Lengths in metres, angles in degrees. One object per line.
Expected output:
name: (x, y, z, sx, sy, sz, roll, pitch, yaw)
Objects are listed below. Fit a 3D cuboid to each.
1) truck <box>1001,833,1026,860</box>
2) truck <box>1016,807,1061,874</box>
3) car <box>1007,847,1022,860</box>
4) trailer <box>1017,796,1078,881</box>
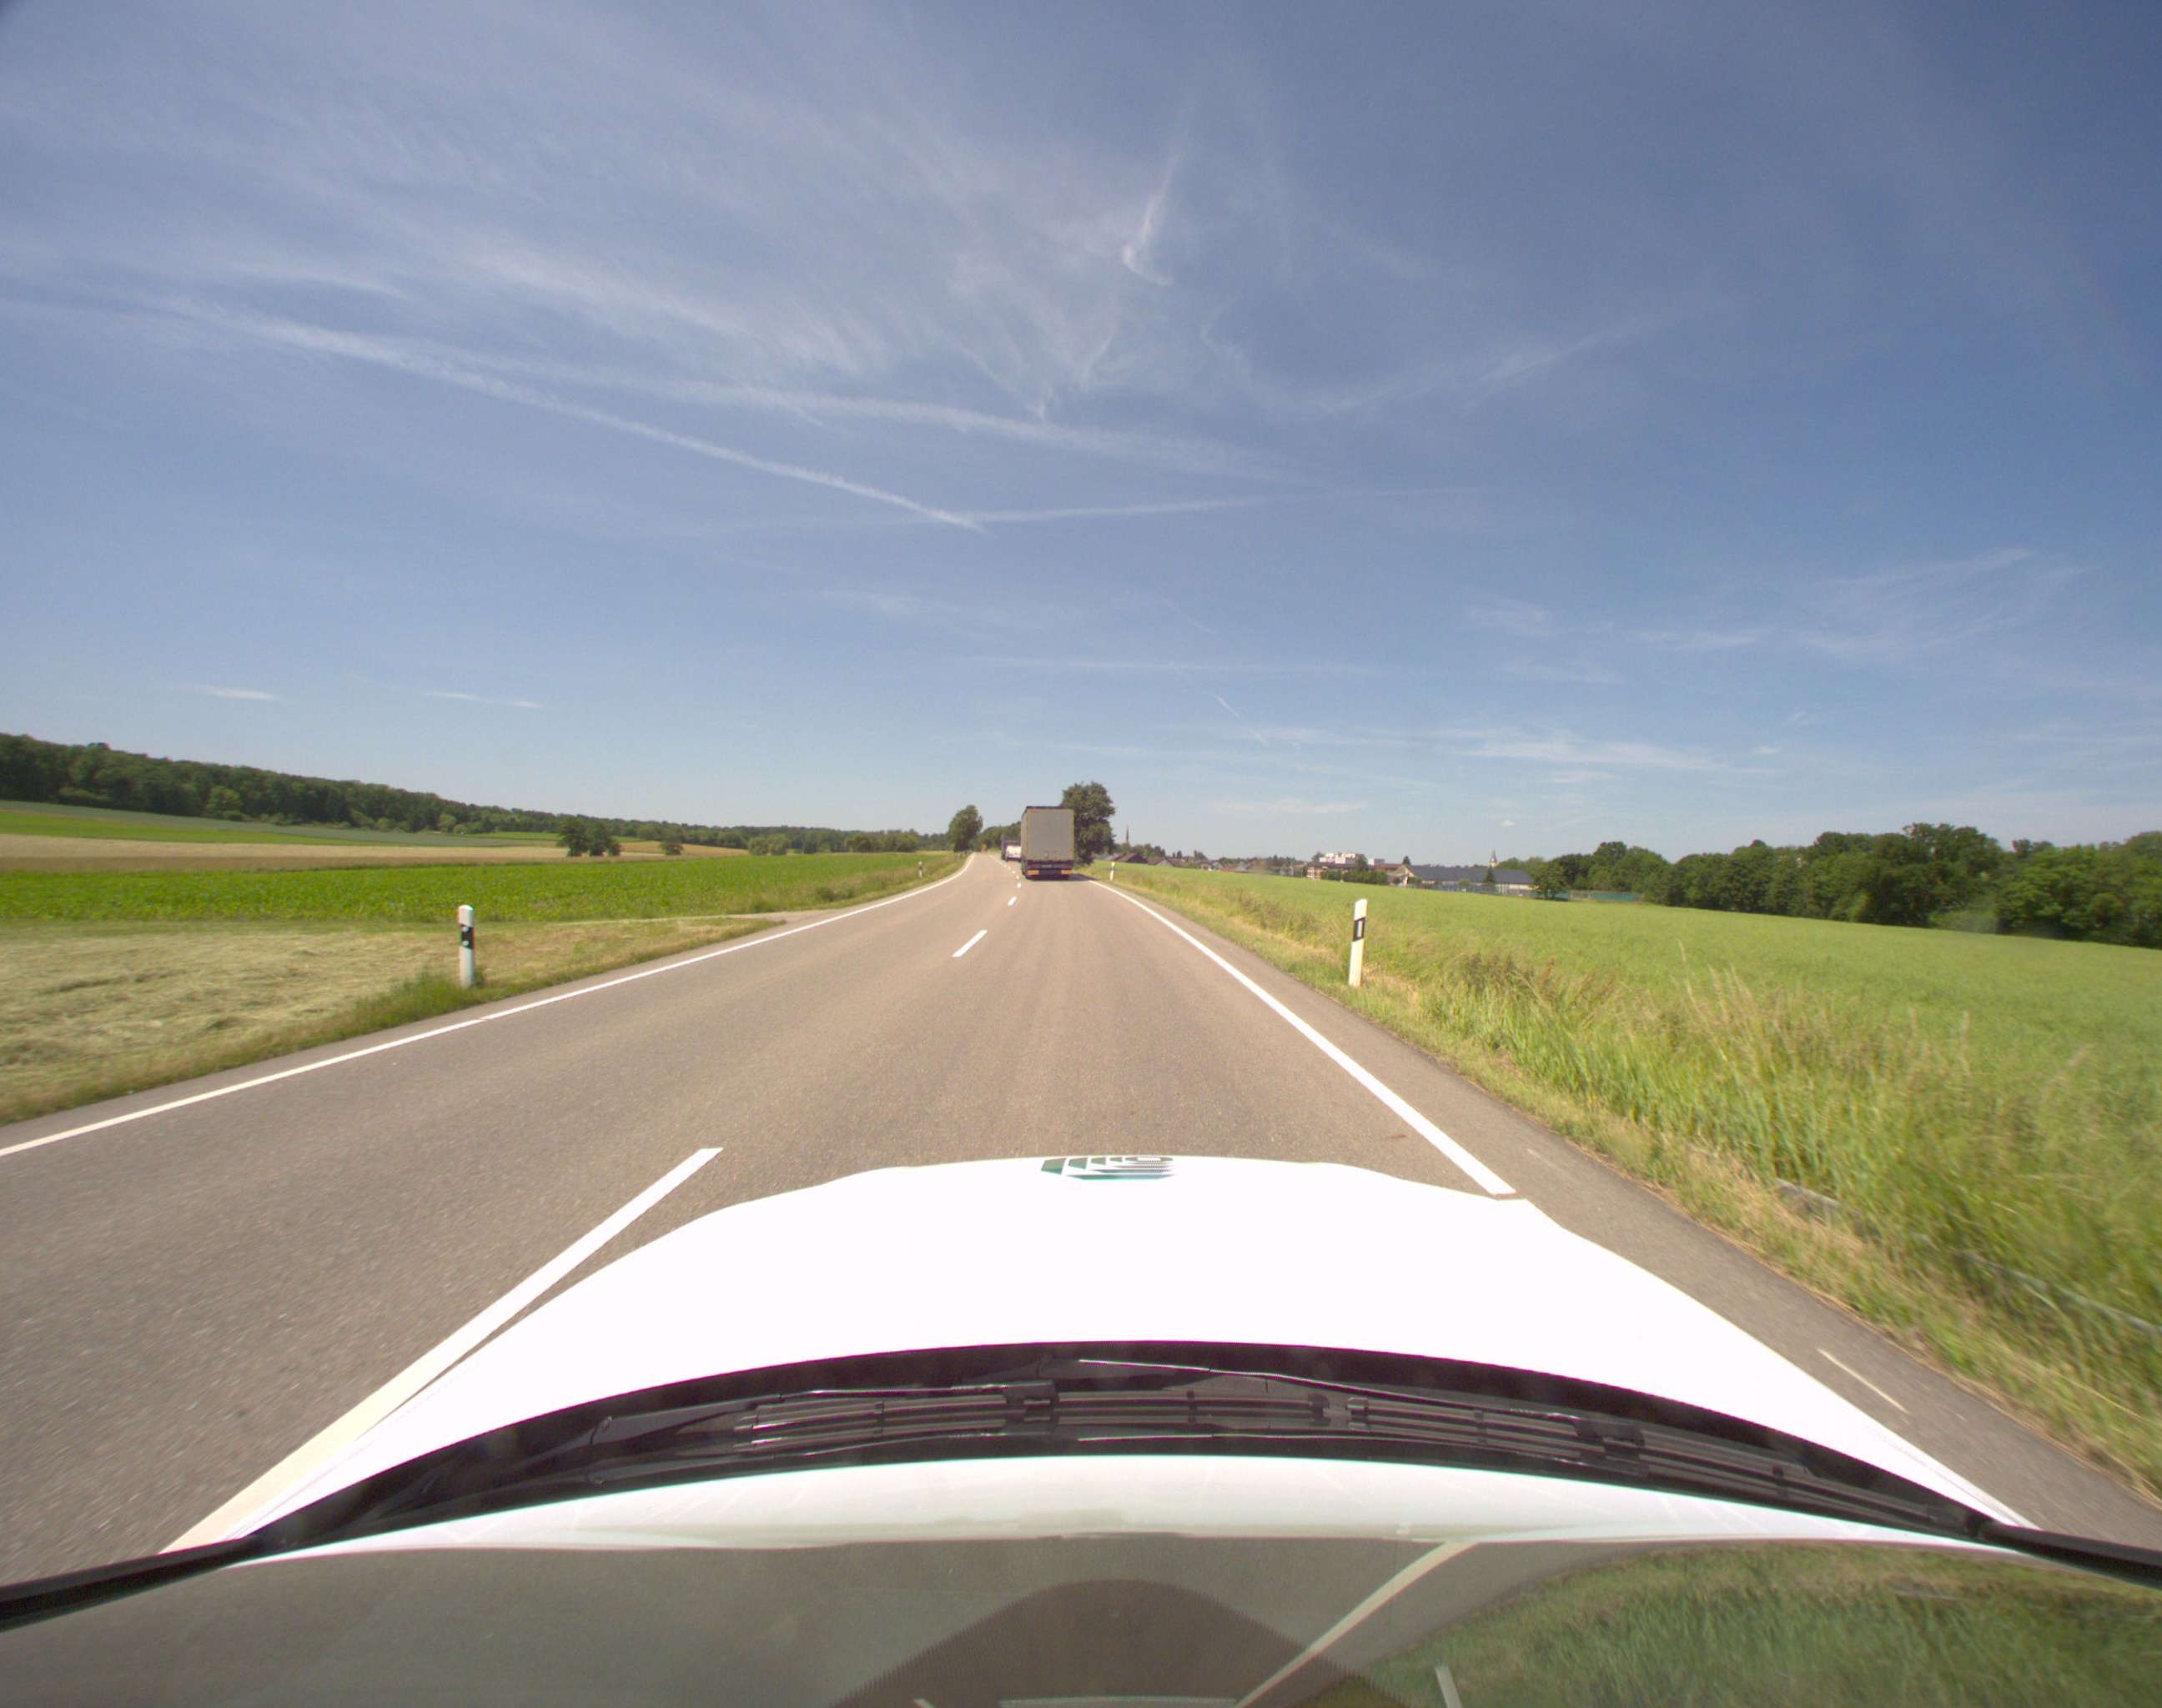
truck: (-11.484, -1.208, 139.416, 3.541, 4.392, 18.102, 1, 0, -3)
truck: (-3.026, -0.892, 56.549, 2.856, 4.400, 5.060, 0, 0, -6)
car: (-9.432, -0.048, 115.188, 1.719, 1.872, 4.000, 0, 0, 0)
trailer: (-2.286, -0.853, 49.511, 2.863, 4.400, 13.464, 0, 0, -6)
